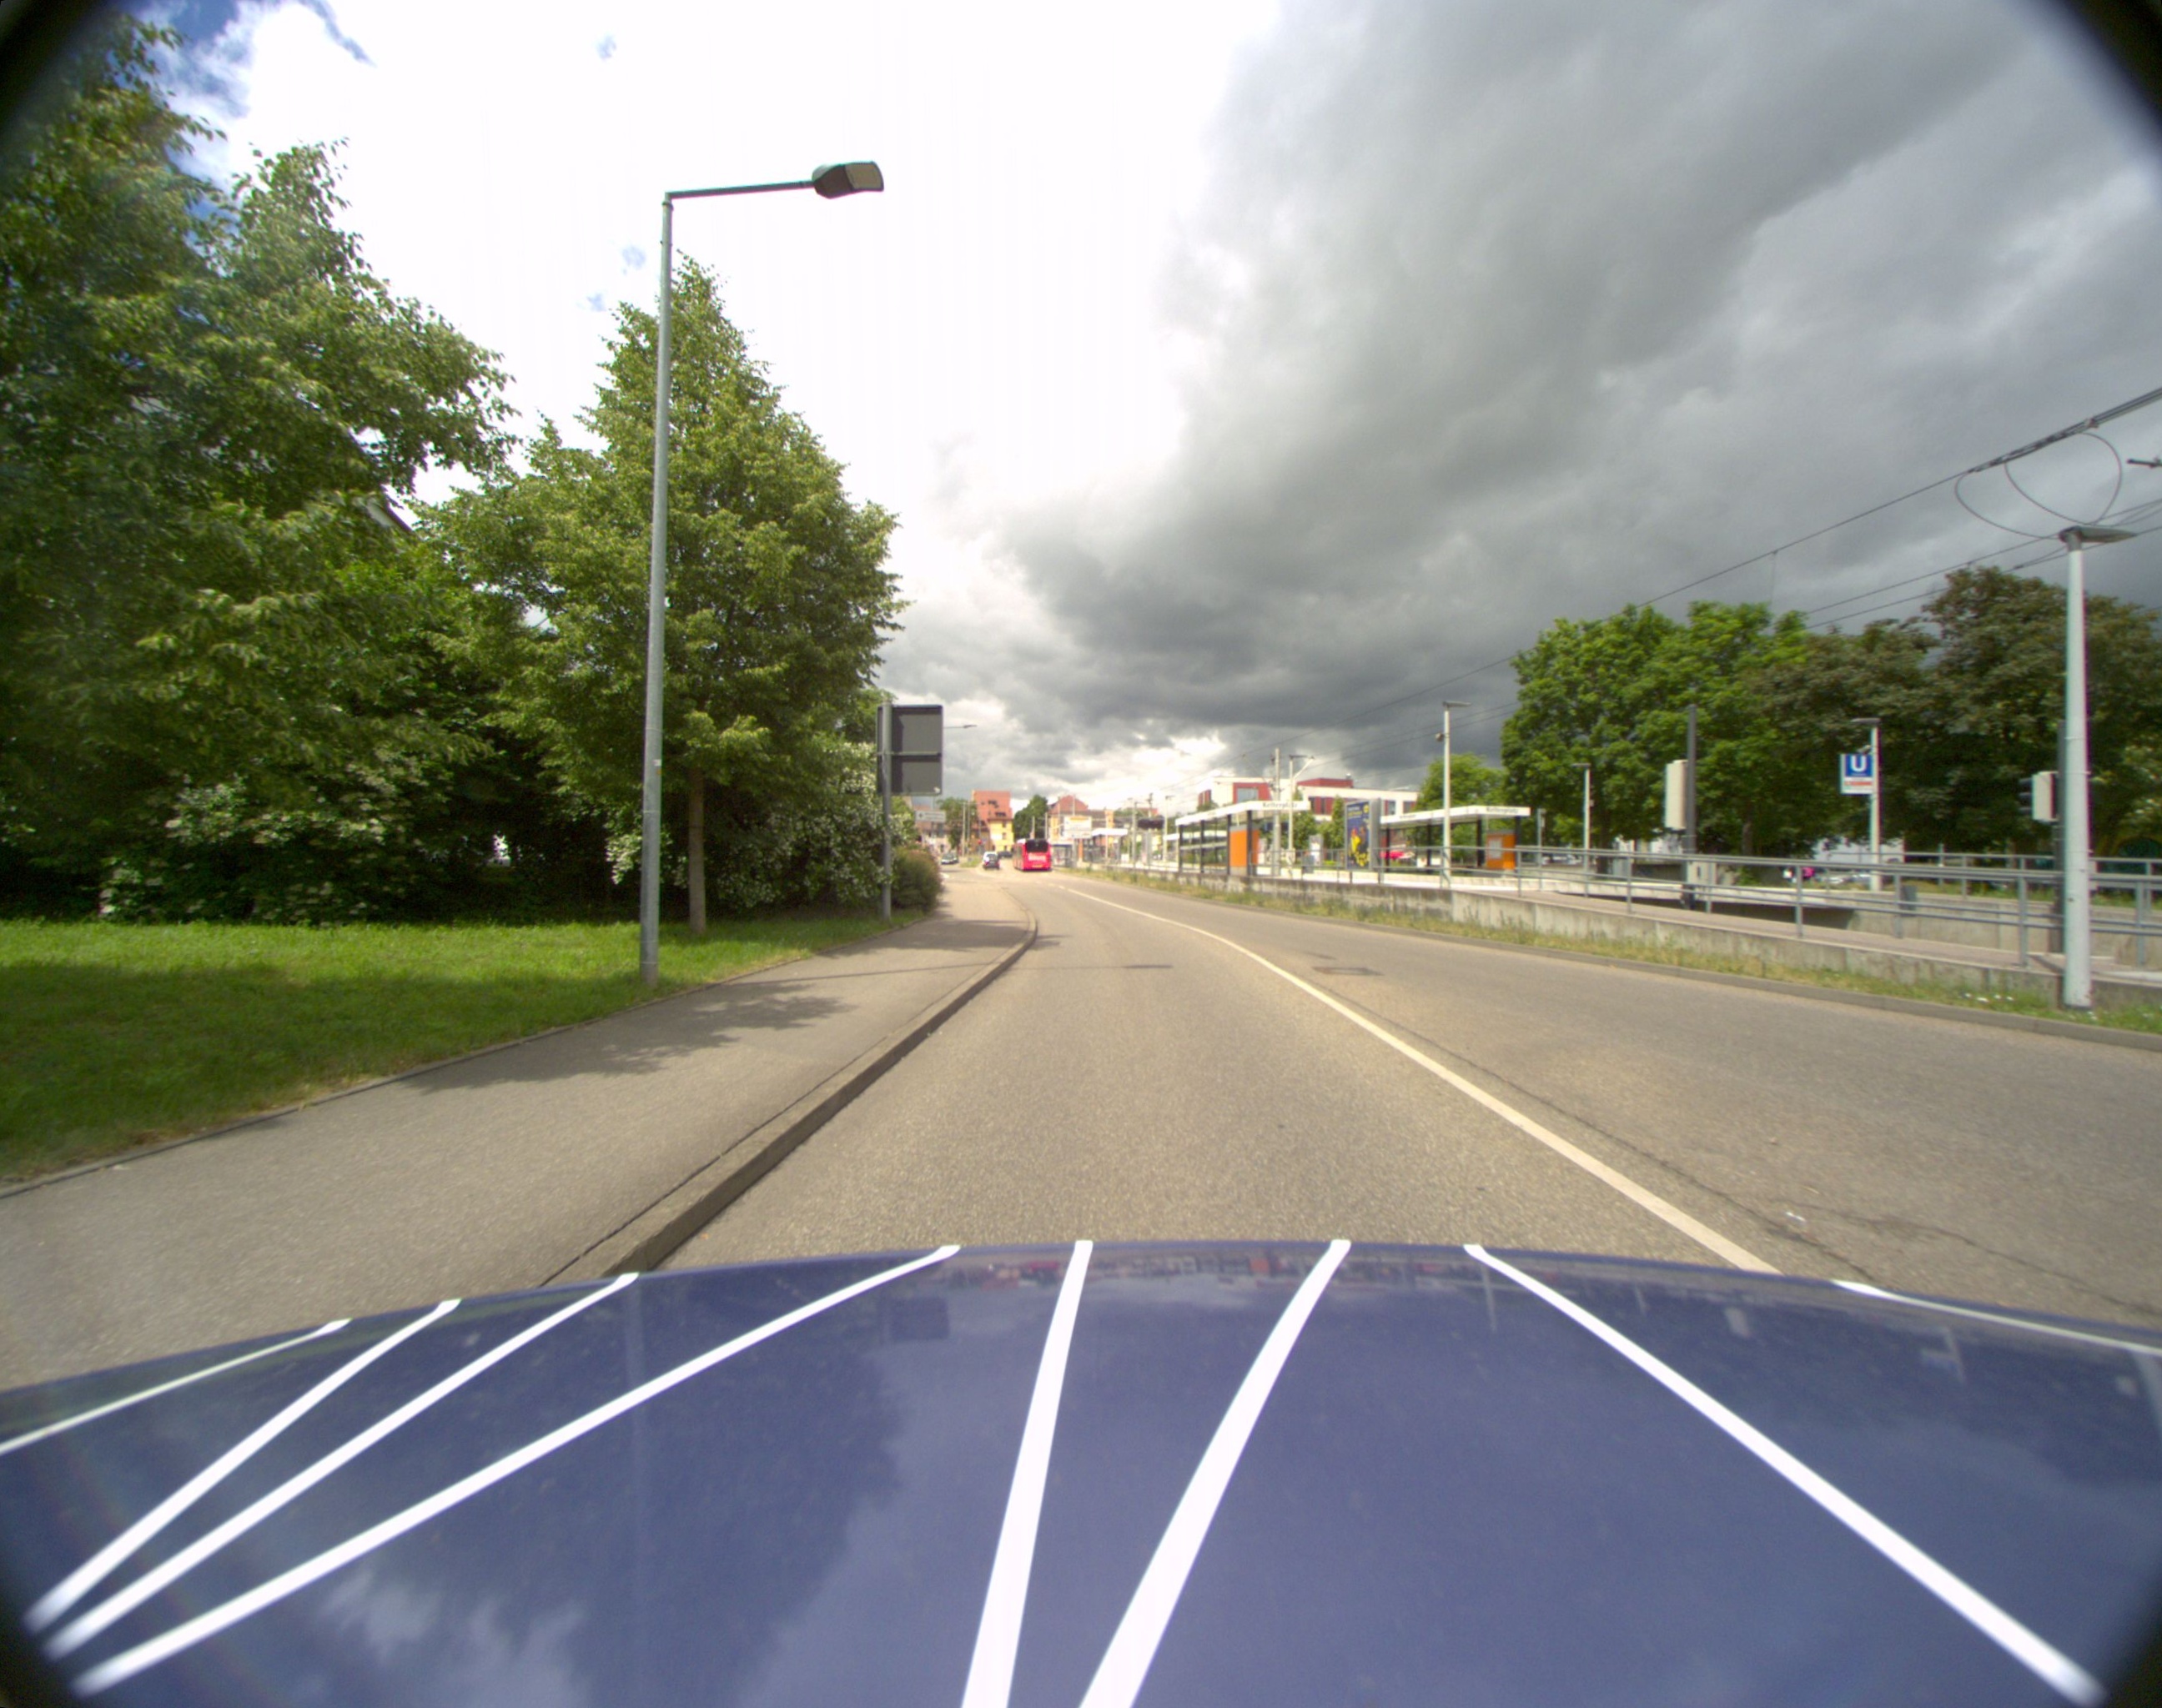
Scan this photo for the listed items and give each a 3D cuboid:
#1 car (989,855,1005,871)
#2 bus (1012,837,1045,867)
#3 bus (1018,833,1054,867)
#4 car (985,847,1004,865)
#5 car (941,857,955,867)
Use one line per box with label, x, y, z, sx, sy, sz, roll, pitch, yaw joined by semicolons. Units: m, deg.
car;-8.776;0.883;79.493;1.534;1.542;3.729;-1;1;-6
bus;-5.750;-0.126;82.098;2.735;3.090;9.698;0;-1;-9
bus;-4.432;-0.254;72.815;2.735;3.051;8.958;0;-1;-8
car;-9.915;0.246;86.777;1.768;1.652;4.504;1;-4;-10
car;-18.971;1.195;108.362;1.884;1.420;3.997;0;-1;-11
